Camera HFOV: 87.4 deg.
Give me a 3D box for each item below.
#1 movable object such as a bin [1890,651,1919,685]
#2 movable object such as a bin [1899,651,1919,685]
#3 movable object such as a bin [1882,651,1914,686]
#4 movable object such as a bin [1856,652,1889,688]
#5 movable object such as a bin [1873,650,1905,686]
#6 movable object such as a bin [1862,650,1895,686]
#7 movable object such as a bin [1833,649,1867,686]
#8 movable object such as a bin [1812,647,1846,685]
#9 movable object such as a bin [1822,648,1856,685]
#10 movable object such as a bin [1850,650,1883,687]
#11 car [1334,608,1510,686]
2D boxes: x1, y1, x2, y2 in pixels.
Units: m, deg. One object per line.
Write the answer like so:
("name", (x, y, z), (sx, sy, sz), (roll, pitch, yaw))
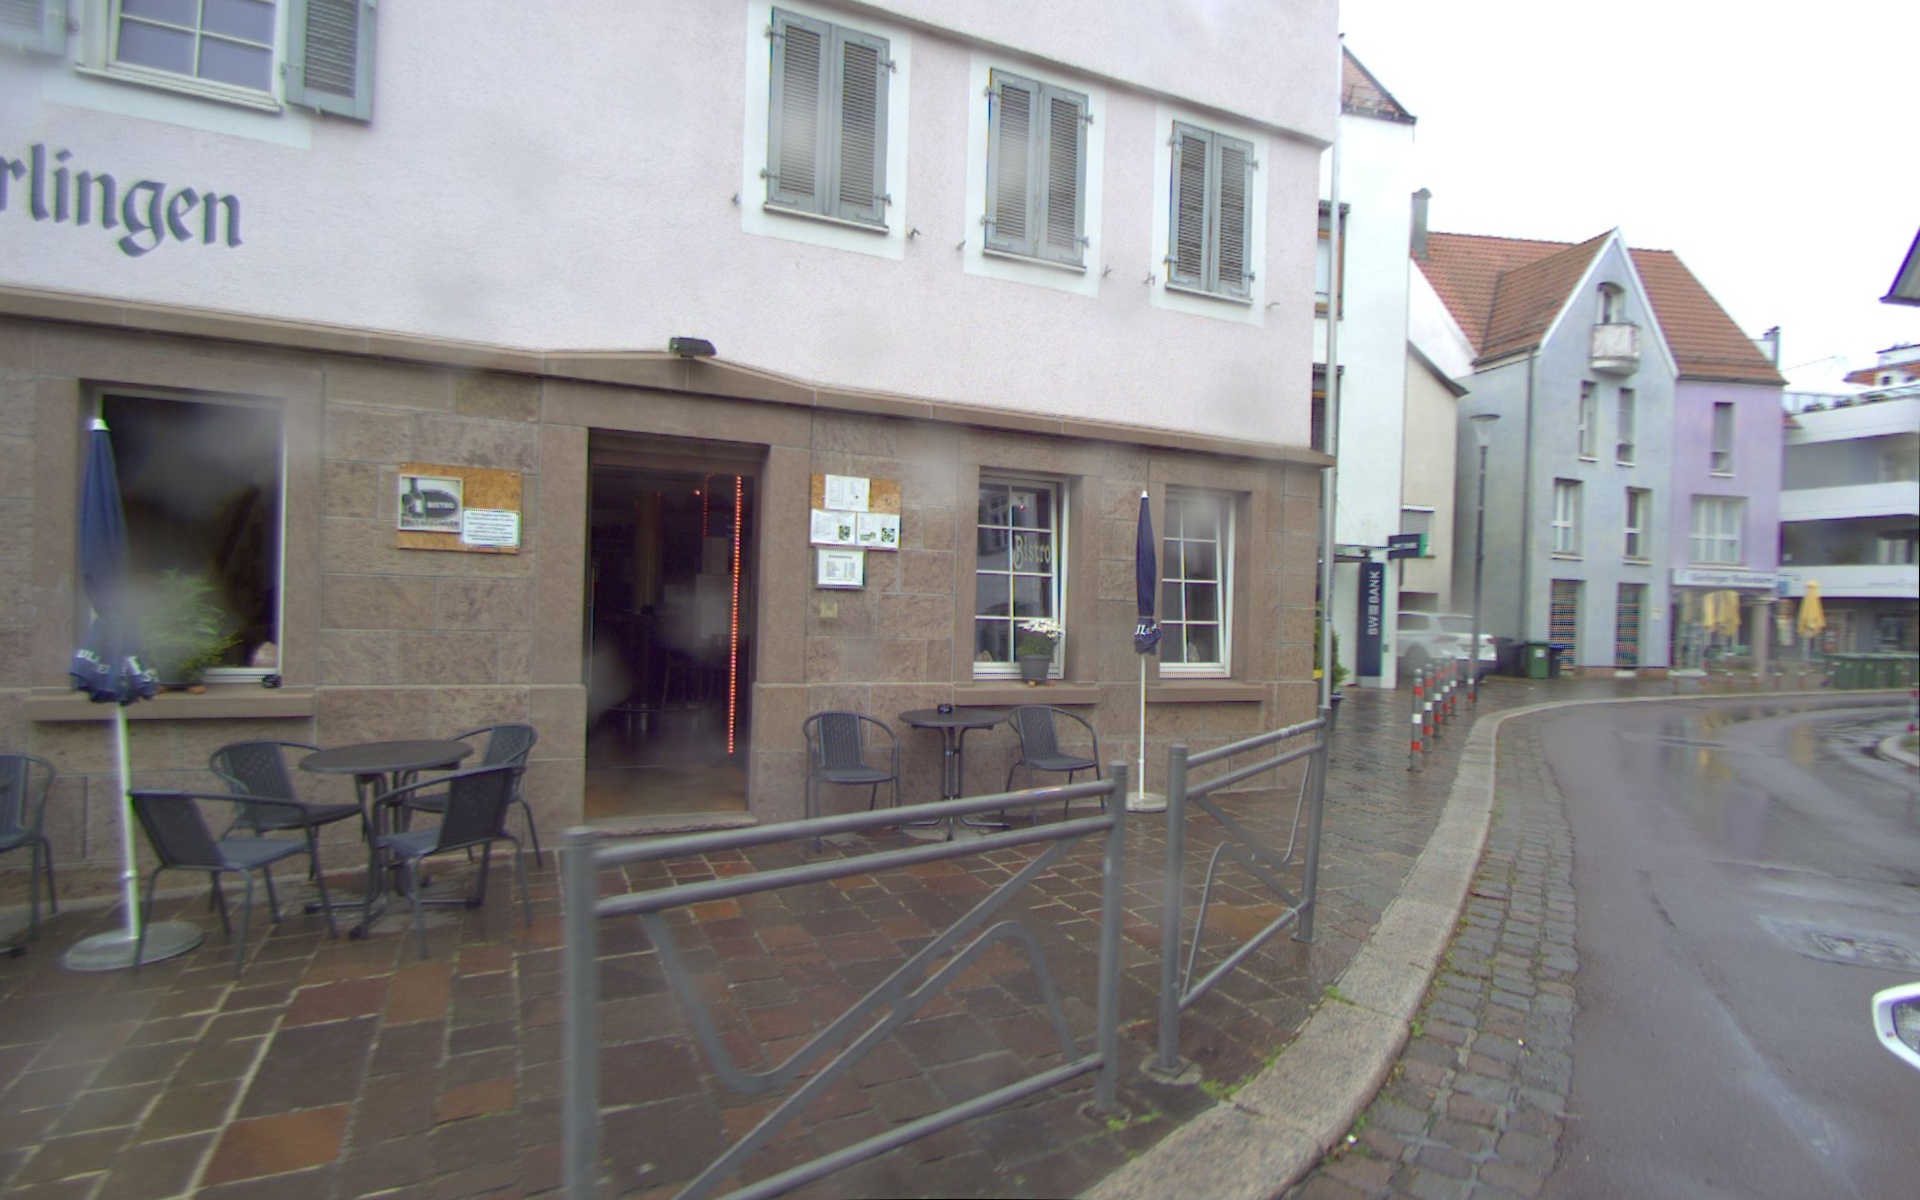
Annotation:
("movable object such as a bin", (32.534, 2.343, 34.555), (0.569, 1.142, 0.631), (3, -1, -26))
("movable object such as a bin", (33.093, 2.354, 34.819), (0.569, 1.142, 0.631), (3, -1, -26))
("movable object such as a bin", (31.921, 2.321, 34.199), (0.569, 1.142, 0.631), (3, -1, -26))
("movable object such as a bin", (30.116, 2.296, 33.143), (0.569, 1.142, 0.631), (3, -1, -26))
("movable object such as a bin", (31.359, 2.293, 33.918), (0.569, 1.142, 0.631), (3, -1, -26))
("movable object such as a bin", (30.718, 2.271, 33.591), (0.569, 1.142, 0.631), (3, -1, -26))
("movable object such as a bin", (28.499, 2.152, 32.164), (0.569, 1.142, 0.631), (3, -1, -26))
("movable object such as a bin", (27.219, 2.058, 31.465), (0.569, 1.142, 0.631), (3, -1, -26))
("movable object such as a bin", (27.827, 2.097, 31.795), (0.569, 1.142, 0.631), (3, -1, -26))
("movable object such as a bin", (29.497, 2.232, 32.684), (0.569, 1.142, 0.631), (3, -1, -26))
("car", (11.571, 1.127, 25.484), (1.966, 1.698, 3.989), (2, 0, -13))
